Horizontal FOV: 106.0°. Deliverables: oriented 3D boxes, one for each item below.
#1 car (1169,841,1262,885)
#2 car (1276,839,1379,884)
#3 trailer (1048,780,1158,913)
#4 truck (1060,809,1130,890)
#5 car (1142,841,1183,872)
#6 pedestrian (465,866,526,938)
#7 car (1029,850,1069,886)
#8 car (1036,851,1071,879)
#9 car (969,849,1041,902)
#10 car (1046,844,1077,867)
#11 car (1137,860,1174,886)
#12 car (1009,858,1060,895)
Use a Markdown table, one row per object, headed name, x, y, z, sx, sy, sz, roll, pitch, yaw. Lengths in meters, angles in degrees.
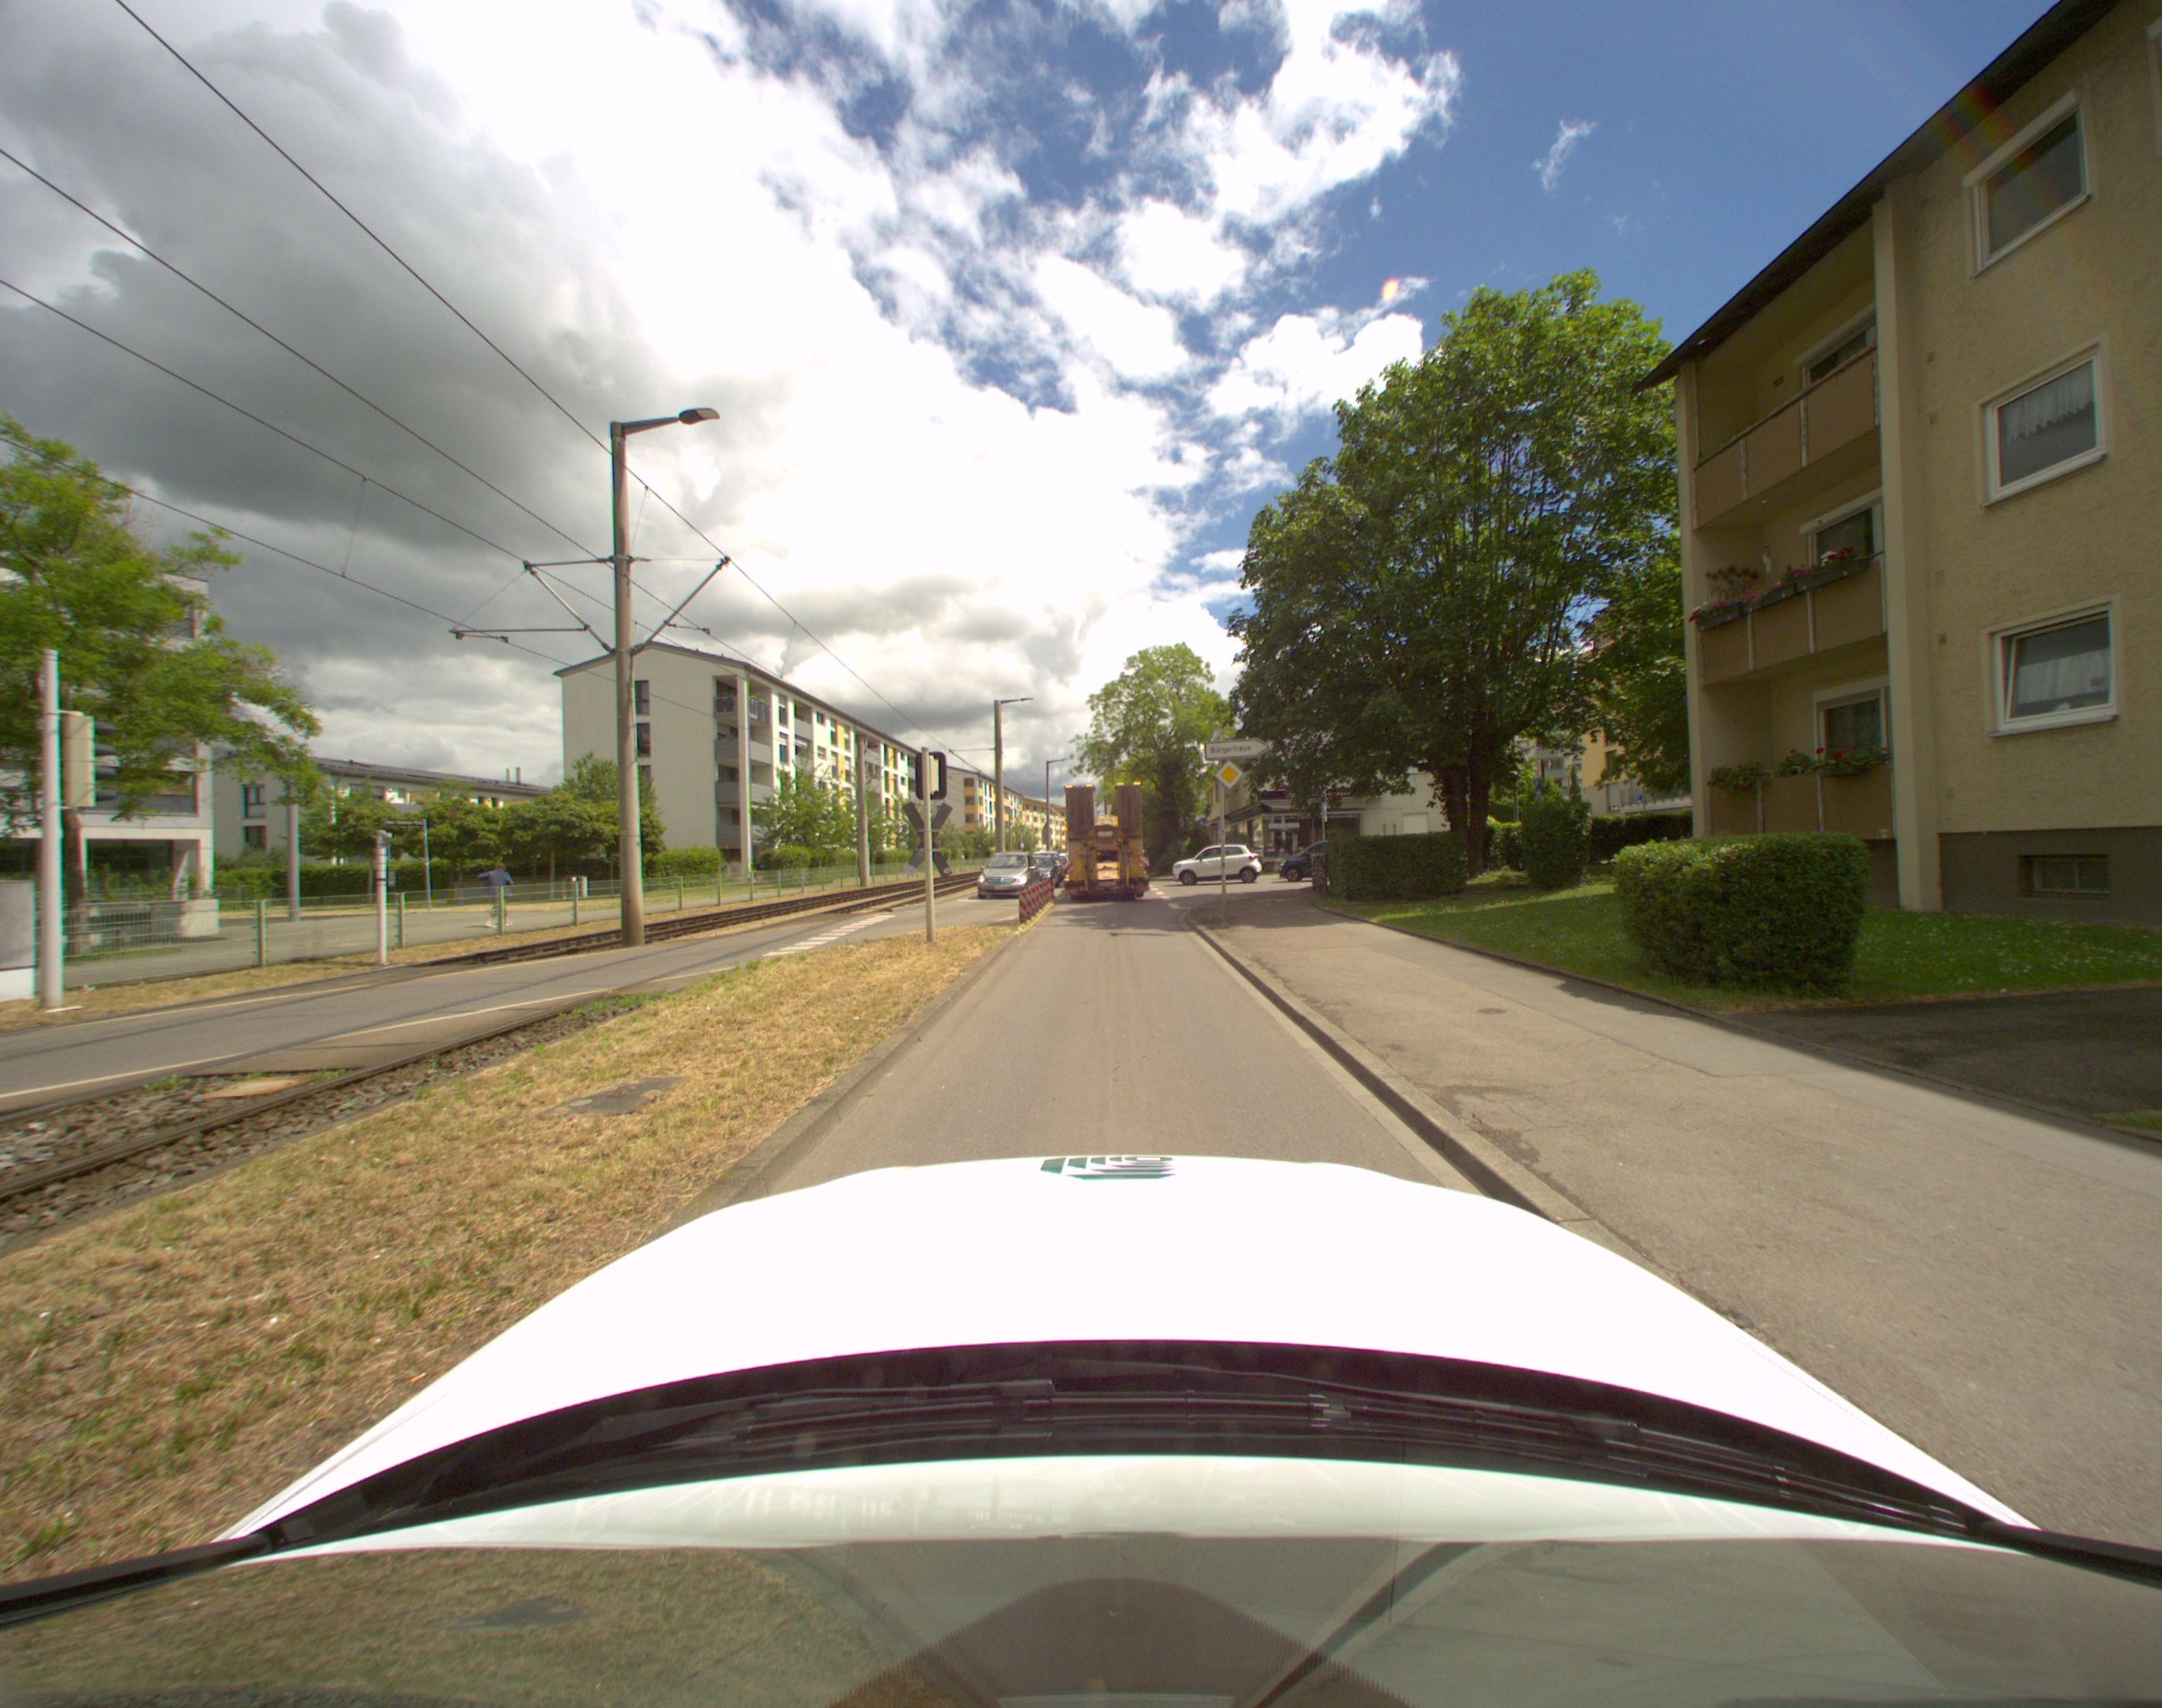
| name | x | y | z | sx | sy | sz | roll | pitch | yaw |
| --- | --- | --- | --- | --- | --- | --- | --- | --- | --- |
| car | 5.539 | 0.375 | 33.327 | 3.573 | 1.584 | 2.007 | -3 | -1 | 13 |
| car | 9.607 | 0.276 | 31.753 | 3.667 | 1.522 | 2.010 | -3 | 1 | 18 |
| trailer | 0.568 | -0.319 | 29.793 | 3.042 | 3.772 | 11.608 | -3 | 1 | -1 |
| truck | 0.540 | -0.254 | 38.945 | 2.825 | 3.330 | 7.981 | -3 | 1 | -1 |
| car | 4.719 | 0.108 | 47.437 | 1.987 | 1.618 | 4.001 | -3 | 1 | 1 |
| pedestrian | -14.460 | 1.169 | 20.147 | 0.746 | 1.661 | 0.870 | -3 | 1 | 5 |
| car | -1.653 | 0.729 | 43.505 | 1.594 | 1.732 | 3.942 | -3 | -1 | 4 |
| car | -1.712 | 0.667 | 52.242 | 1.987 | 1.593 | 3.892 | -3 | 1 | 1 |
| car | -2.613 | 0.737 | 28.971 | 1.794 | 1.652 | 4.136 | -3 | -1 | 4 |
| car | -1.379 | 0.098 | 59.103 | 1.987 | 1.520 | 3.892 | -3 | 1 | 1 |
| car | 4.740 | 1.207 | 52.329 | 1.987 | 1.387 | 4.001 | -3 | 1 | 1 |
| car | -1.928 | 0.921 | 34.736 | 1.594 | 1.381 | 3.961 | -3 | -1 | 4 |
